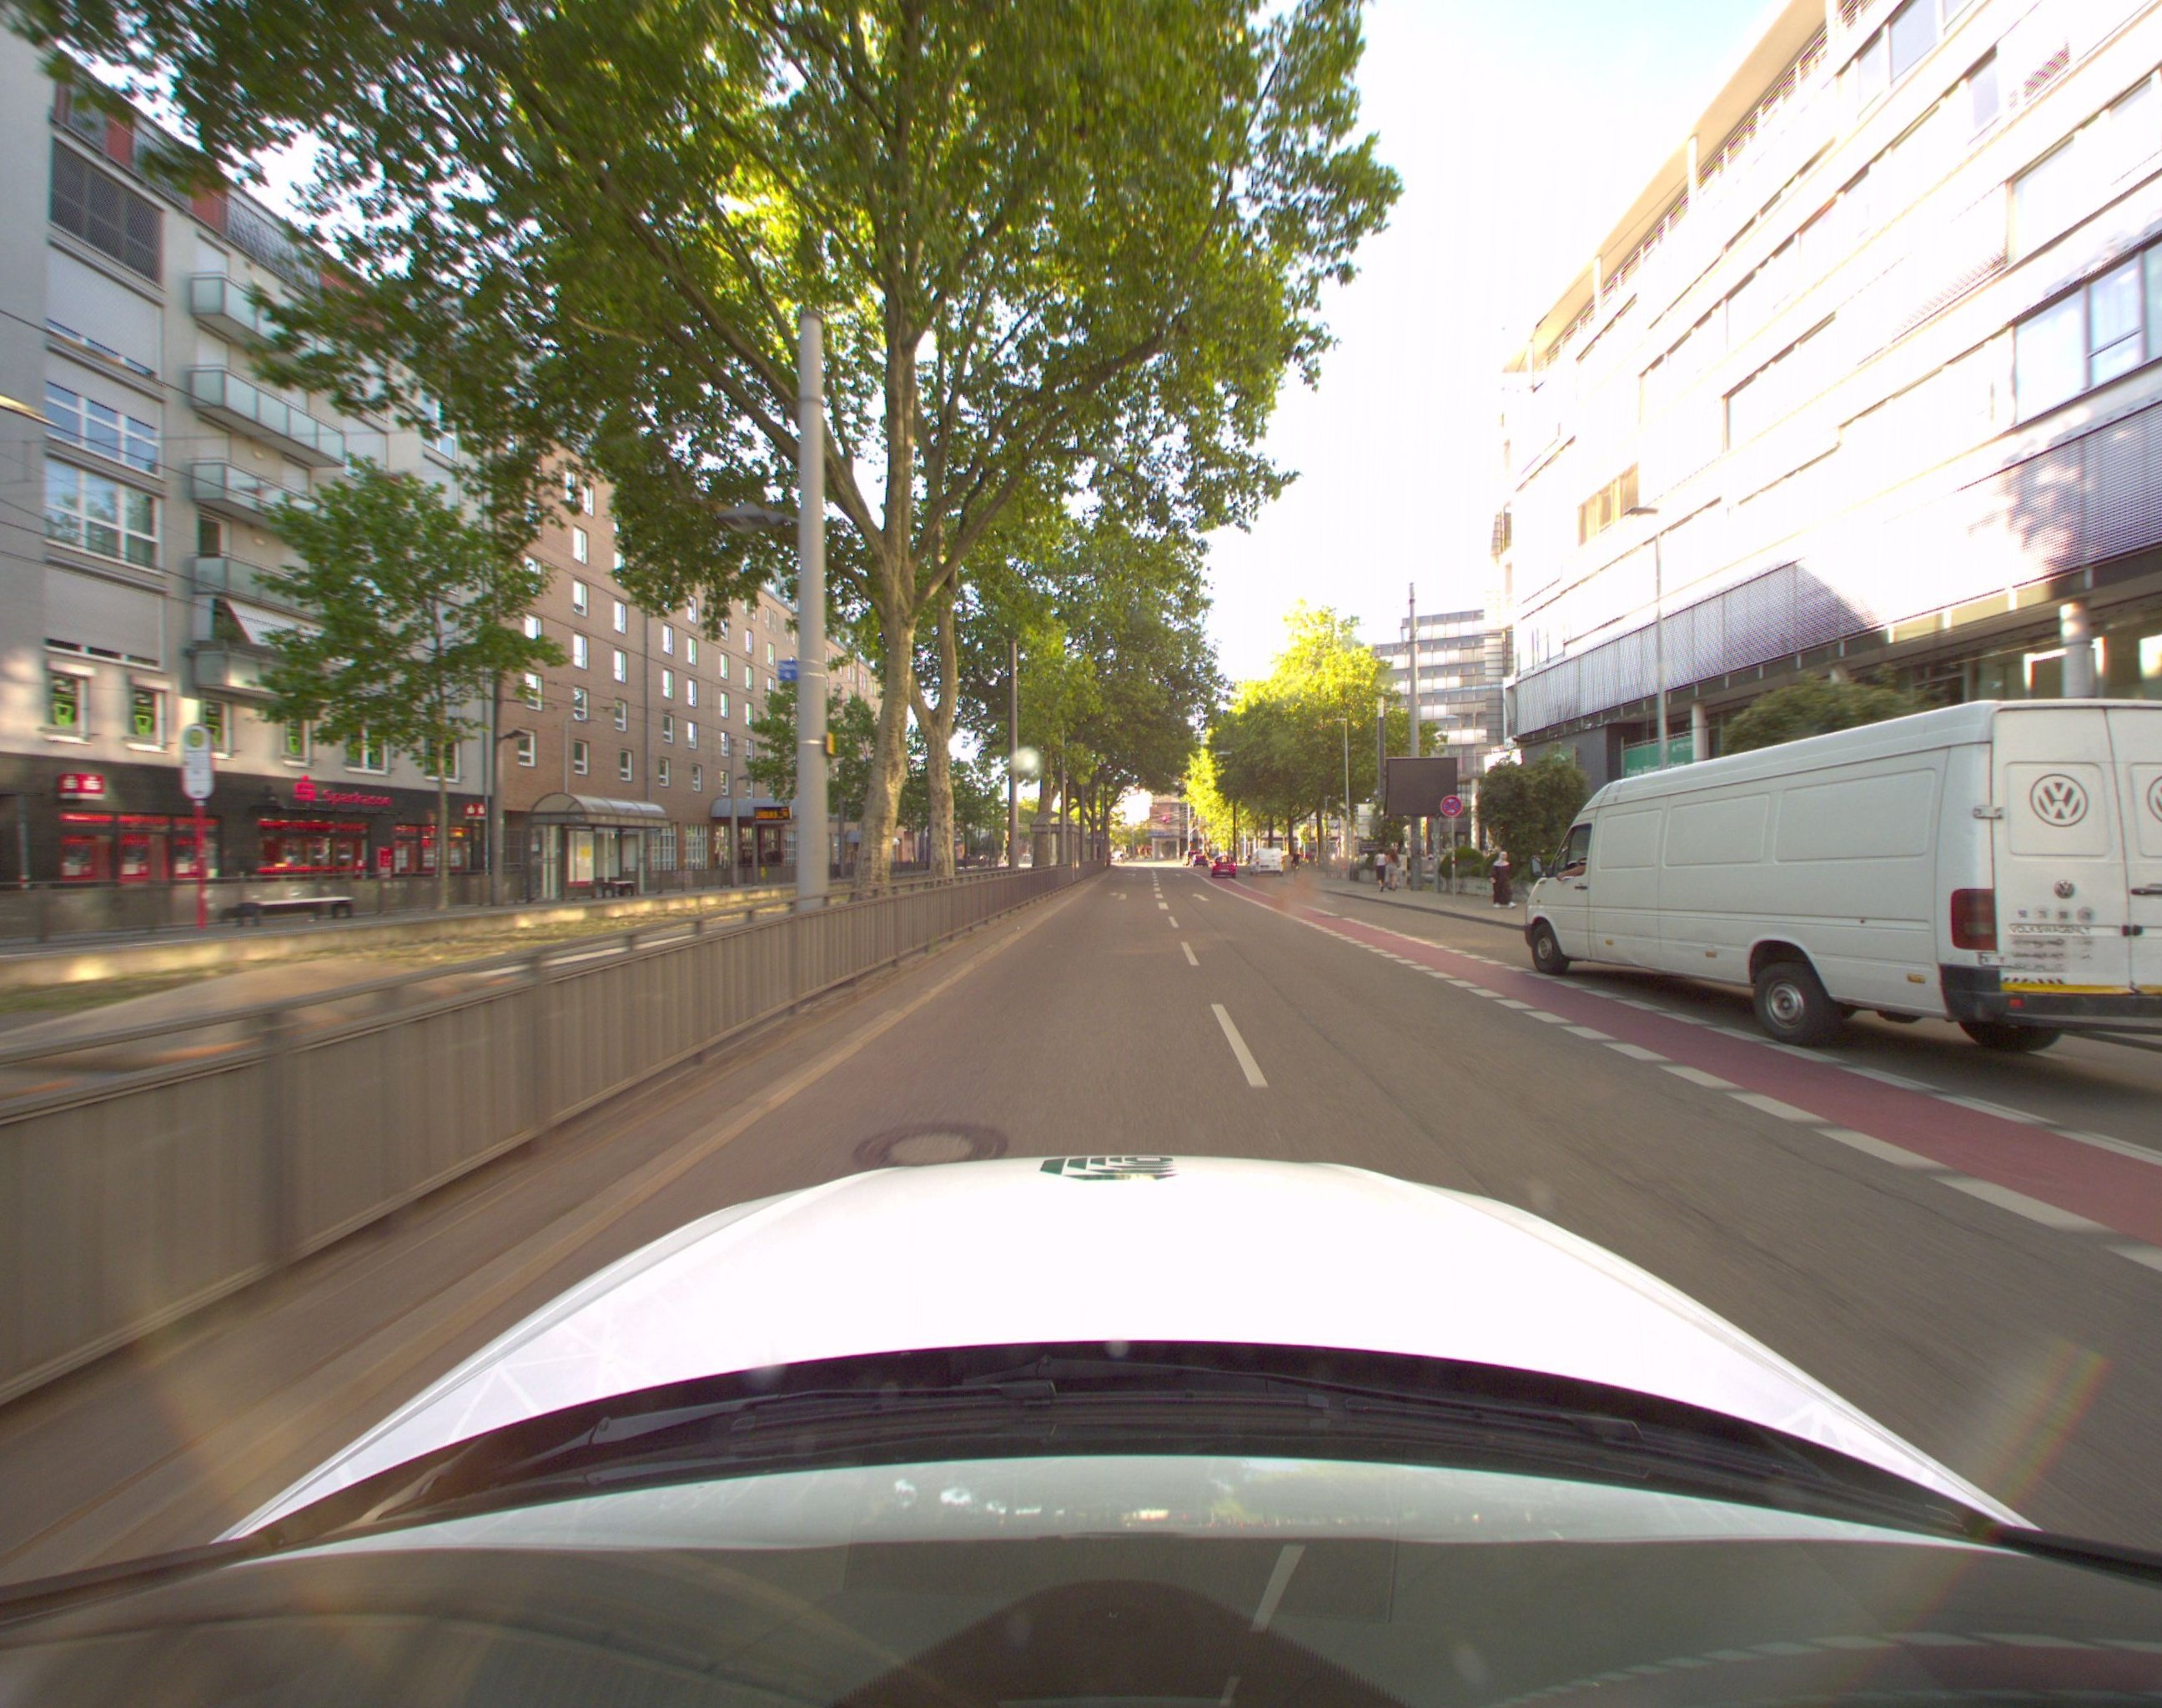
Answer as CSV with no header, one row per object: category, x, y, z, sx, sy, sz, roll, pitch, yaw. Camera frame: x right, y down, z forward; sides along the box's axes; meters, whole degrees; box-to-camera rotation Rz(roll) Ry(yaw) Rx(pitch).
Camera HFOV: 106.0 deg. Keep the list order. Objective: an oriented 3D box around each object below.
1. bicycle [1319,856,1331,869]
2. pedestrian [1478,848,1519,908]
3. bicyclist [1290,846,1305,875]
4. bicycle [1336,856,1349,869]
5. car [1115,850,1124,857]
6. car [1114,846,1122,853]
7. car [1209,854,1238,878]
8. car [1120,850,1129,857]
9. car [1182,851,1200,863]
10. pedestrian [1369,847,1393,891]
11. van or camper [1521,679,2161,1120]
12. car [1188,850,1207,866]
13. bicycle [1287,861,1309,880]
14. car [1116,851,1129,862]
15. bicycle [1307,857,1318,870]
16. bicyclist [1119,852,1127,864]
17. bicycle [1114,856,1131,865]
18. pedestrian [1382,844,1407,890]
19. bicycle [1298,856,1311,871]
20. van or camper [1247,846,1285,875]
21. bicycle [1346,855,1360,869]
bicycle,18.960,0.685,63.278,0.501,0.982,1.769,-2,0,3
pedestrian,11.553,0.651,22.538,0.640,1.579,0.723,-5,0,0
bicyclist,12.660,0.379,47.645,0.647,1.702,0.953,-1,0,3
bicycle,20.294,0.656,63.234,0.501,0.982,1.769,-2,0,3
car,8.973,-0.120,190.332,1.772,1.534,3.410,0,0,-1
car,8.944,-1.106,196.359,1.772,1.588,3.410,0,0,-1
car,9.716,0.820,55.779,1.606,1.534,3.415,0,0,4
car,9.833,-0.091,183.675,1.772,1.534,3.410,0,0,-1
car,13.668,0.351,101.569,1.772,1.534,3.511,0,0,-1
pedestrian,12.045,0.599,32.714,0.562,1.702,0.907,-4,0,2
van or camper,6.891,0.250,8.158,1.960,2.716,6.312,0,0,4
car,13.624,0.500,95.589,1.631,1.800,3.327,-1,0,-2
bicycle,12.656,0.944,47.551,0.680,1.067,2.471,-2,0,3
car,6.481,0.376,126.241,1.772,1.534,3.511,0,0,-1
bicycle,17.992,0.730,63.318,0.465,0.982,1.769,-2,0,3
bicyclist,5.565,0.562,108.675,0.838,1.591,0.835,0,0,-16
bicycle,5.538,0.889,108.678,2.016,1.214,0.835,0,0,-16
pedestrian,12.656,0.523,32.868,0.538,1.796,0.907,-4,0,2
bicycle,17.354,0.743,63.336,0.583,1.067,1.901,-2,0,3
van or camper,13.157,0.447,58.109,1.984,1.989,4.751,-1,0,5
bicycle,21.081,0.611,63.115,0.501,0.982,1.769,-2,0,3
